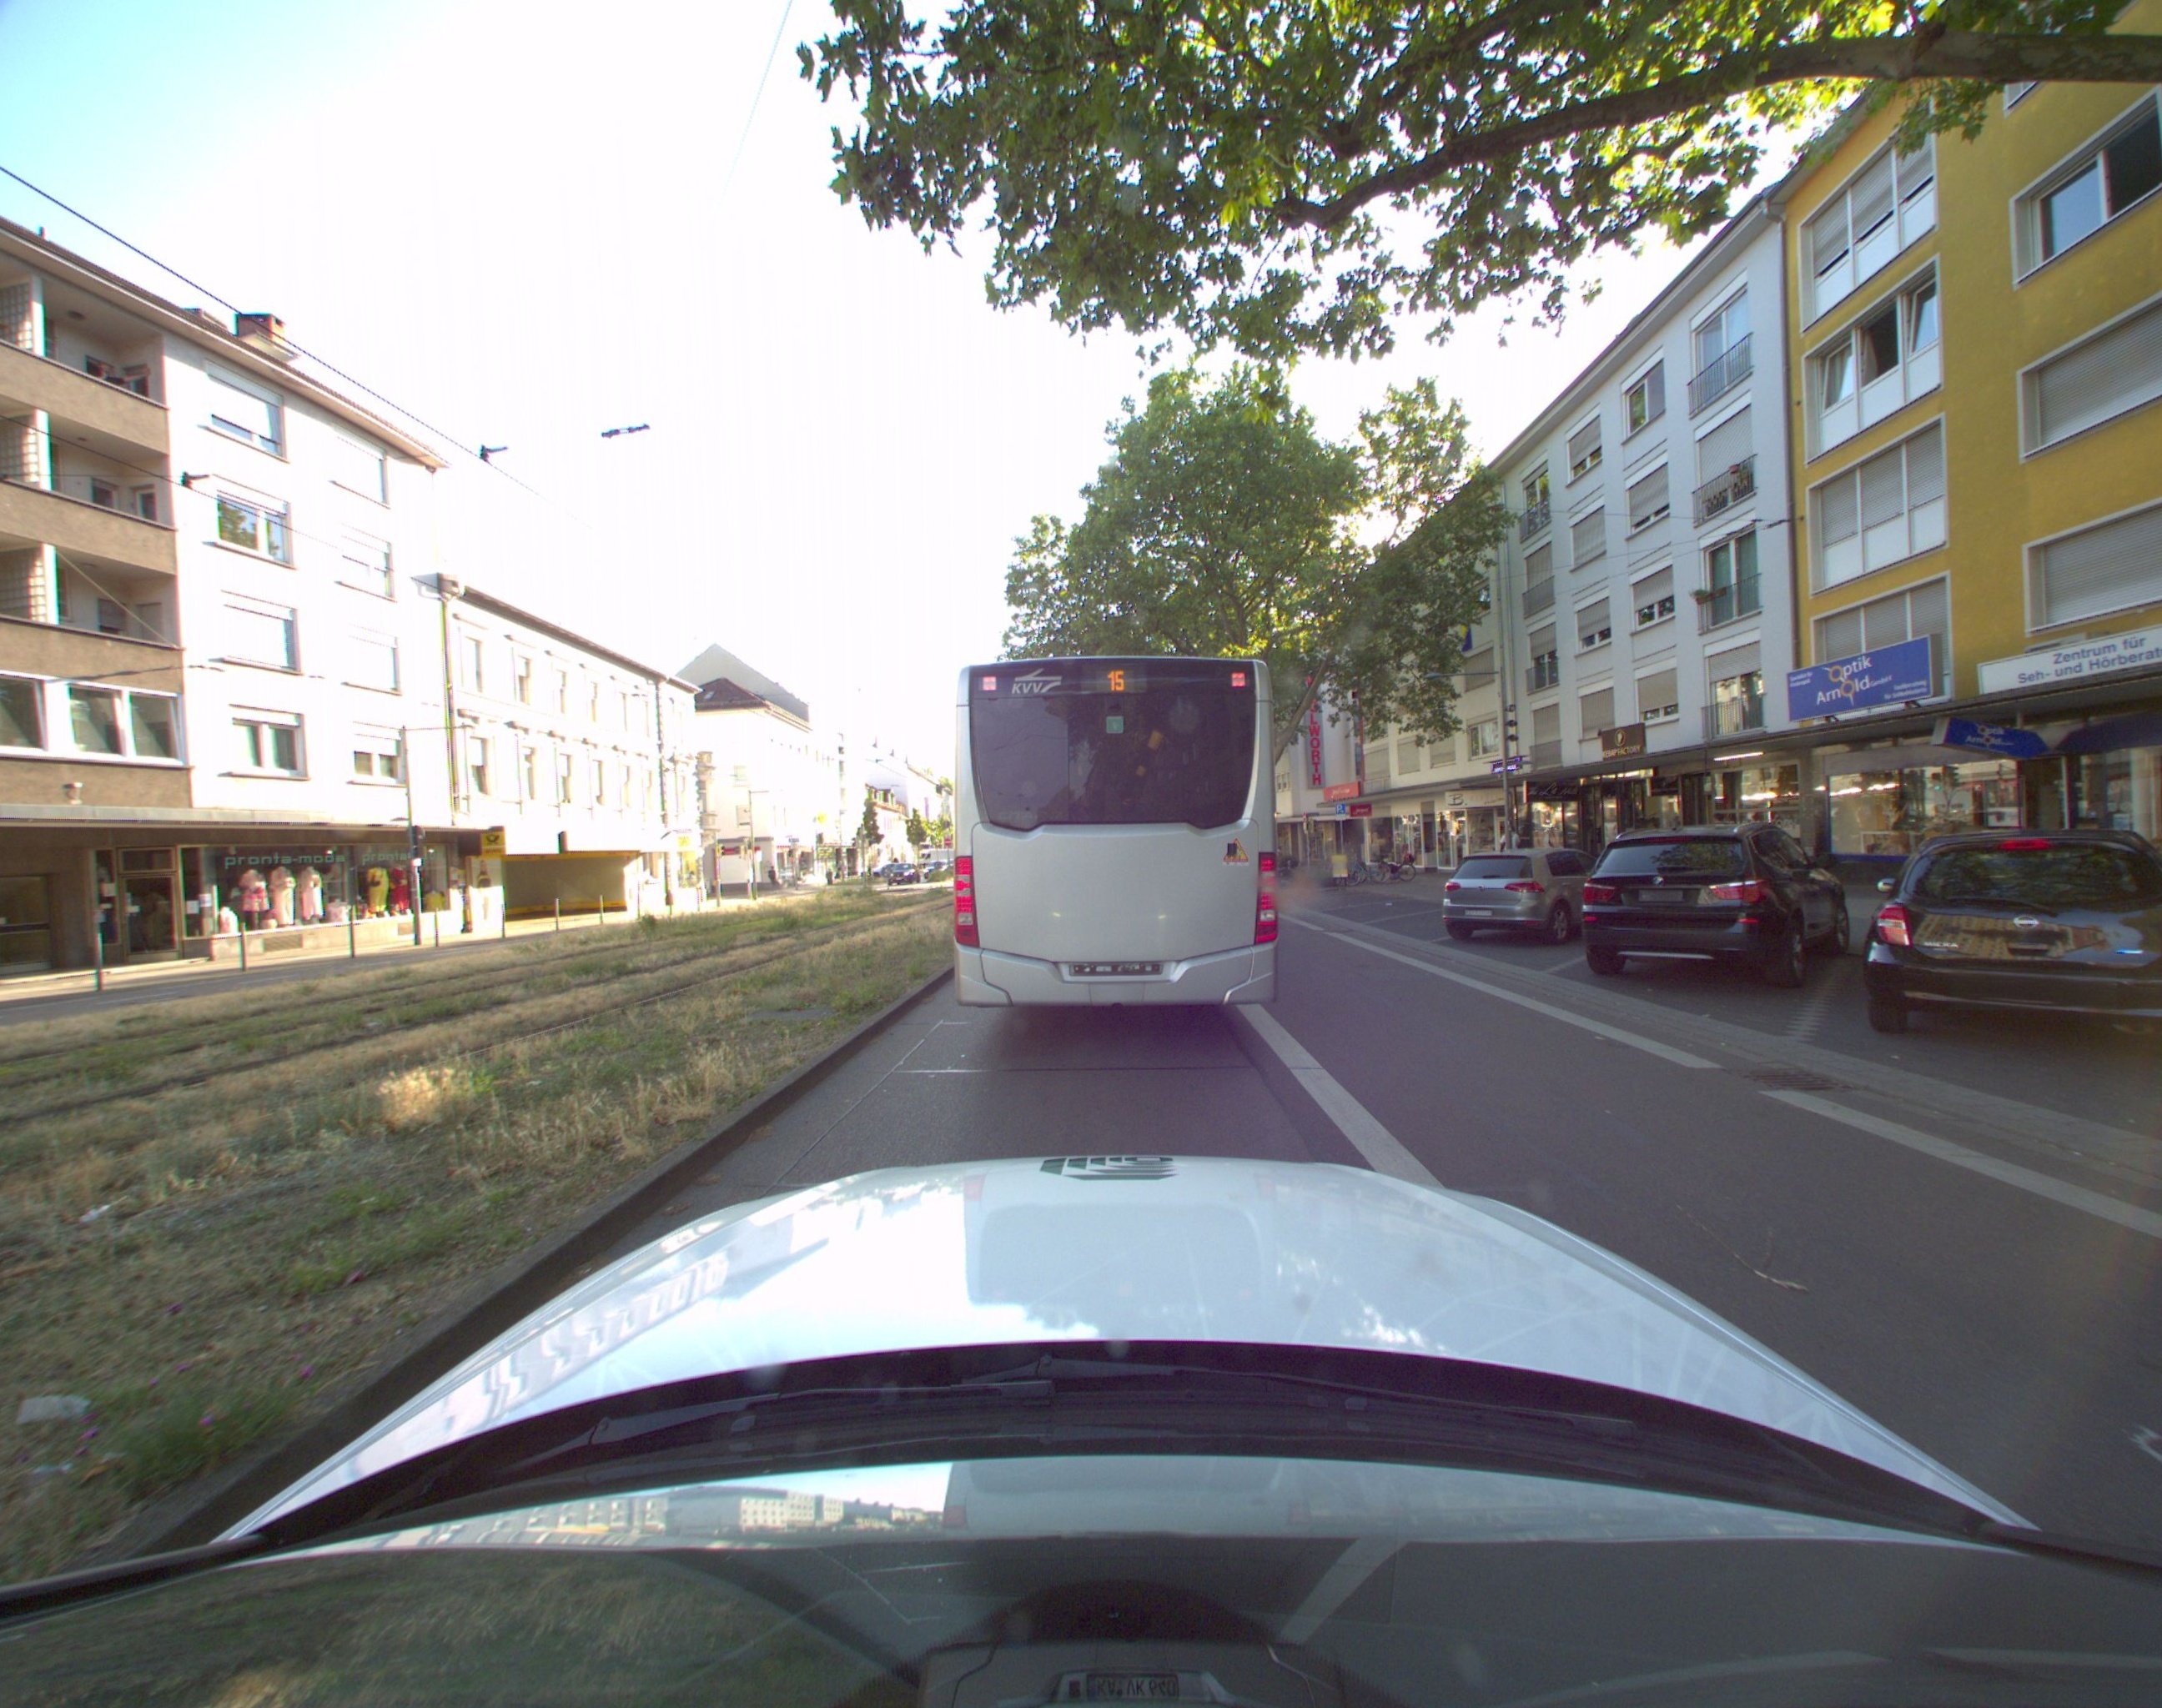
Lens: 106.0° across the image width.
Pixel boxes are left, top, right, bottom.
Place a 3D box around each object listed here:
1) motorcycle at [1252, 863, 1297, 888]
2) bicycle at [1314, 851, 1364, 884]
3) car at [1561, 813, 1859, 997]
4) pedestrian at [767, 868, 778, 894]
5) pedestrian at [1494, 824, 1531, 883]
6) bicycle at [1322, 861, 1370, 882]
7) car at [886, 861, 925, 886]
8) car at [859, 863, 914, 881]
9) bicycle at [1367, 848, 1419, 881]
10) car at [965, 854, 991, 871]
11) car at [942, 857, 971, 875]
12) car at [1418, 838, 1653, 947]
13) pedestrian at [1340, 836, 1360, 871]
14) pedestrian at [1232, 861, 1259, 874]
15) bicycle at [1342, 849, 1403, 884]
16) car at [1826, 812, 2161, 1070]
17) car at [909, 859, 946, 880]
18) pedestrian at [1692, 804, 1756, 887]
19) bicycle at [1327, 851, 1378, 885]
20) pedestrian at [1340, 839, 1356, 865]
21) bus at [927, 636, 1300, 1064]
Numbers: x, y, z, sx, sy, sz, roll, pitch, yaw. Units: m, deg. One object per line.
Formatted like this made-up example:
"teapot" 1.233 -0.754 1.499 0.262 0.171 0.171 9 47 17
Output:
"motorcycle" 7.466 0.826 31.500 1.565 0.892 0.544 -3 0 -1
"bicycle" 10.928 0.574 34.554 1.864 1.189 0.713 -6 -1 10
"car" 7.483 0.434 9.548 4.172 1.681 1.789 -3 0 -39
"pedestrian" -20.879 1.807 55.111 0.423 1.713 0.509 -3 0 6
"pedestrian" 14.126 -0.007 26.676 0.643 1.876 0.821 -3 0 -11
"bicycle" 11.492 0.762 35.324 1.864 0.765 0.714 -3 1 10
"car" -12.398 1.345 57.701 1.715 1.509 3.479 -5 0 3
"car" -18.253 1.680 76.402 4.571 1.412 1.979 -3 0 -35
"bicycle" 12.416 0.416 32.424 1.753 1.154 0.680 -4 0 10
"car" -11.071 0.937 87.647 1.773 1.615 4.513 -4 0 4
"car" -12.155 1.121 79.713 1.773 1.450 4.049 -5 1 4
"car" 7.654 0.555 13.587 4.196 1.451 1.790 -3 0 -36
"pedestrian" 14.277 -0.015 43.274 0.777 1.794 0.764 -3 0 2
"pedestrian" 8.538 0.704 42.296 1.250 0.589 0.482 -2 0 0
"bicycle" 11.407 0.501 31.940 2.069 1.233 0.833 -4 0 6
"car" 7.568 0.499 6.568 3.626 1.540 1.721 -3 0 -39
"car" -12.943 1.290 69.004 1.986 1.559 4.777 -3 0 2
"pedestrian" 14.592 -0.193 18.502 0.703 1.791 0.789 -6 -1 8
"bicycle" 11.159 0.571 33.537 1.783 1.189 0.671 -5 -1 -7
"pedestrian" 18.044 -0.139 55.004 0.746 1.679 0.834 -3 2 -4
"bus" 0.421 -0.044 9.547 2.667 3.083 7.120 -2 0 3
